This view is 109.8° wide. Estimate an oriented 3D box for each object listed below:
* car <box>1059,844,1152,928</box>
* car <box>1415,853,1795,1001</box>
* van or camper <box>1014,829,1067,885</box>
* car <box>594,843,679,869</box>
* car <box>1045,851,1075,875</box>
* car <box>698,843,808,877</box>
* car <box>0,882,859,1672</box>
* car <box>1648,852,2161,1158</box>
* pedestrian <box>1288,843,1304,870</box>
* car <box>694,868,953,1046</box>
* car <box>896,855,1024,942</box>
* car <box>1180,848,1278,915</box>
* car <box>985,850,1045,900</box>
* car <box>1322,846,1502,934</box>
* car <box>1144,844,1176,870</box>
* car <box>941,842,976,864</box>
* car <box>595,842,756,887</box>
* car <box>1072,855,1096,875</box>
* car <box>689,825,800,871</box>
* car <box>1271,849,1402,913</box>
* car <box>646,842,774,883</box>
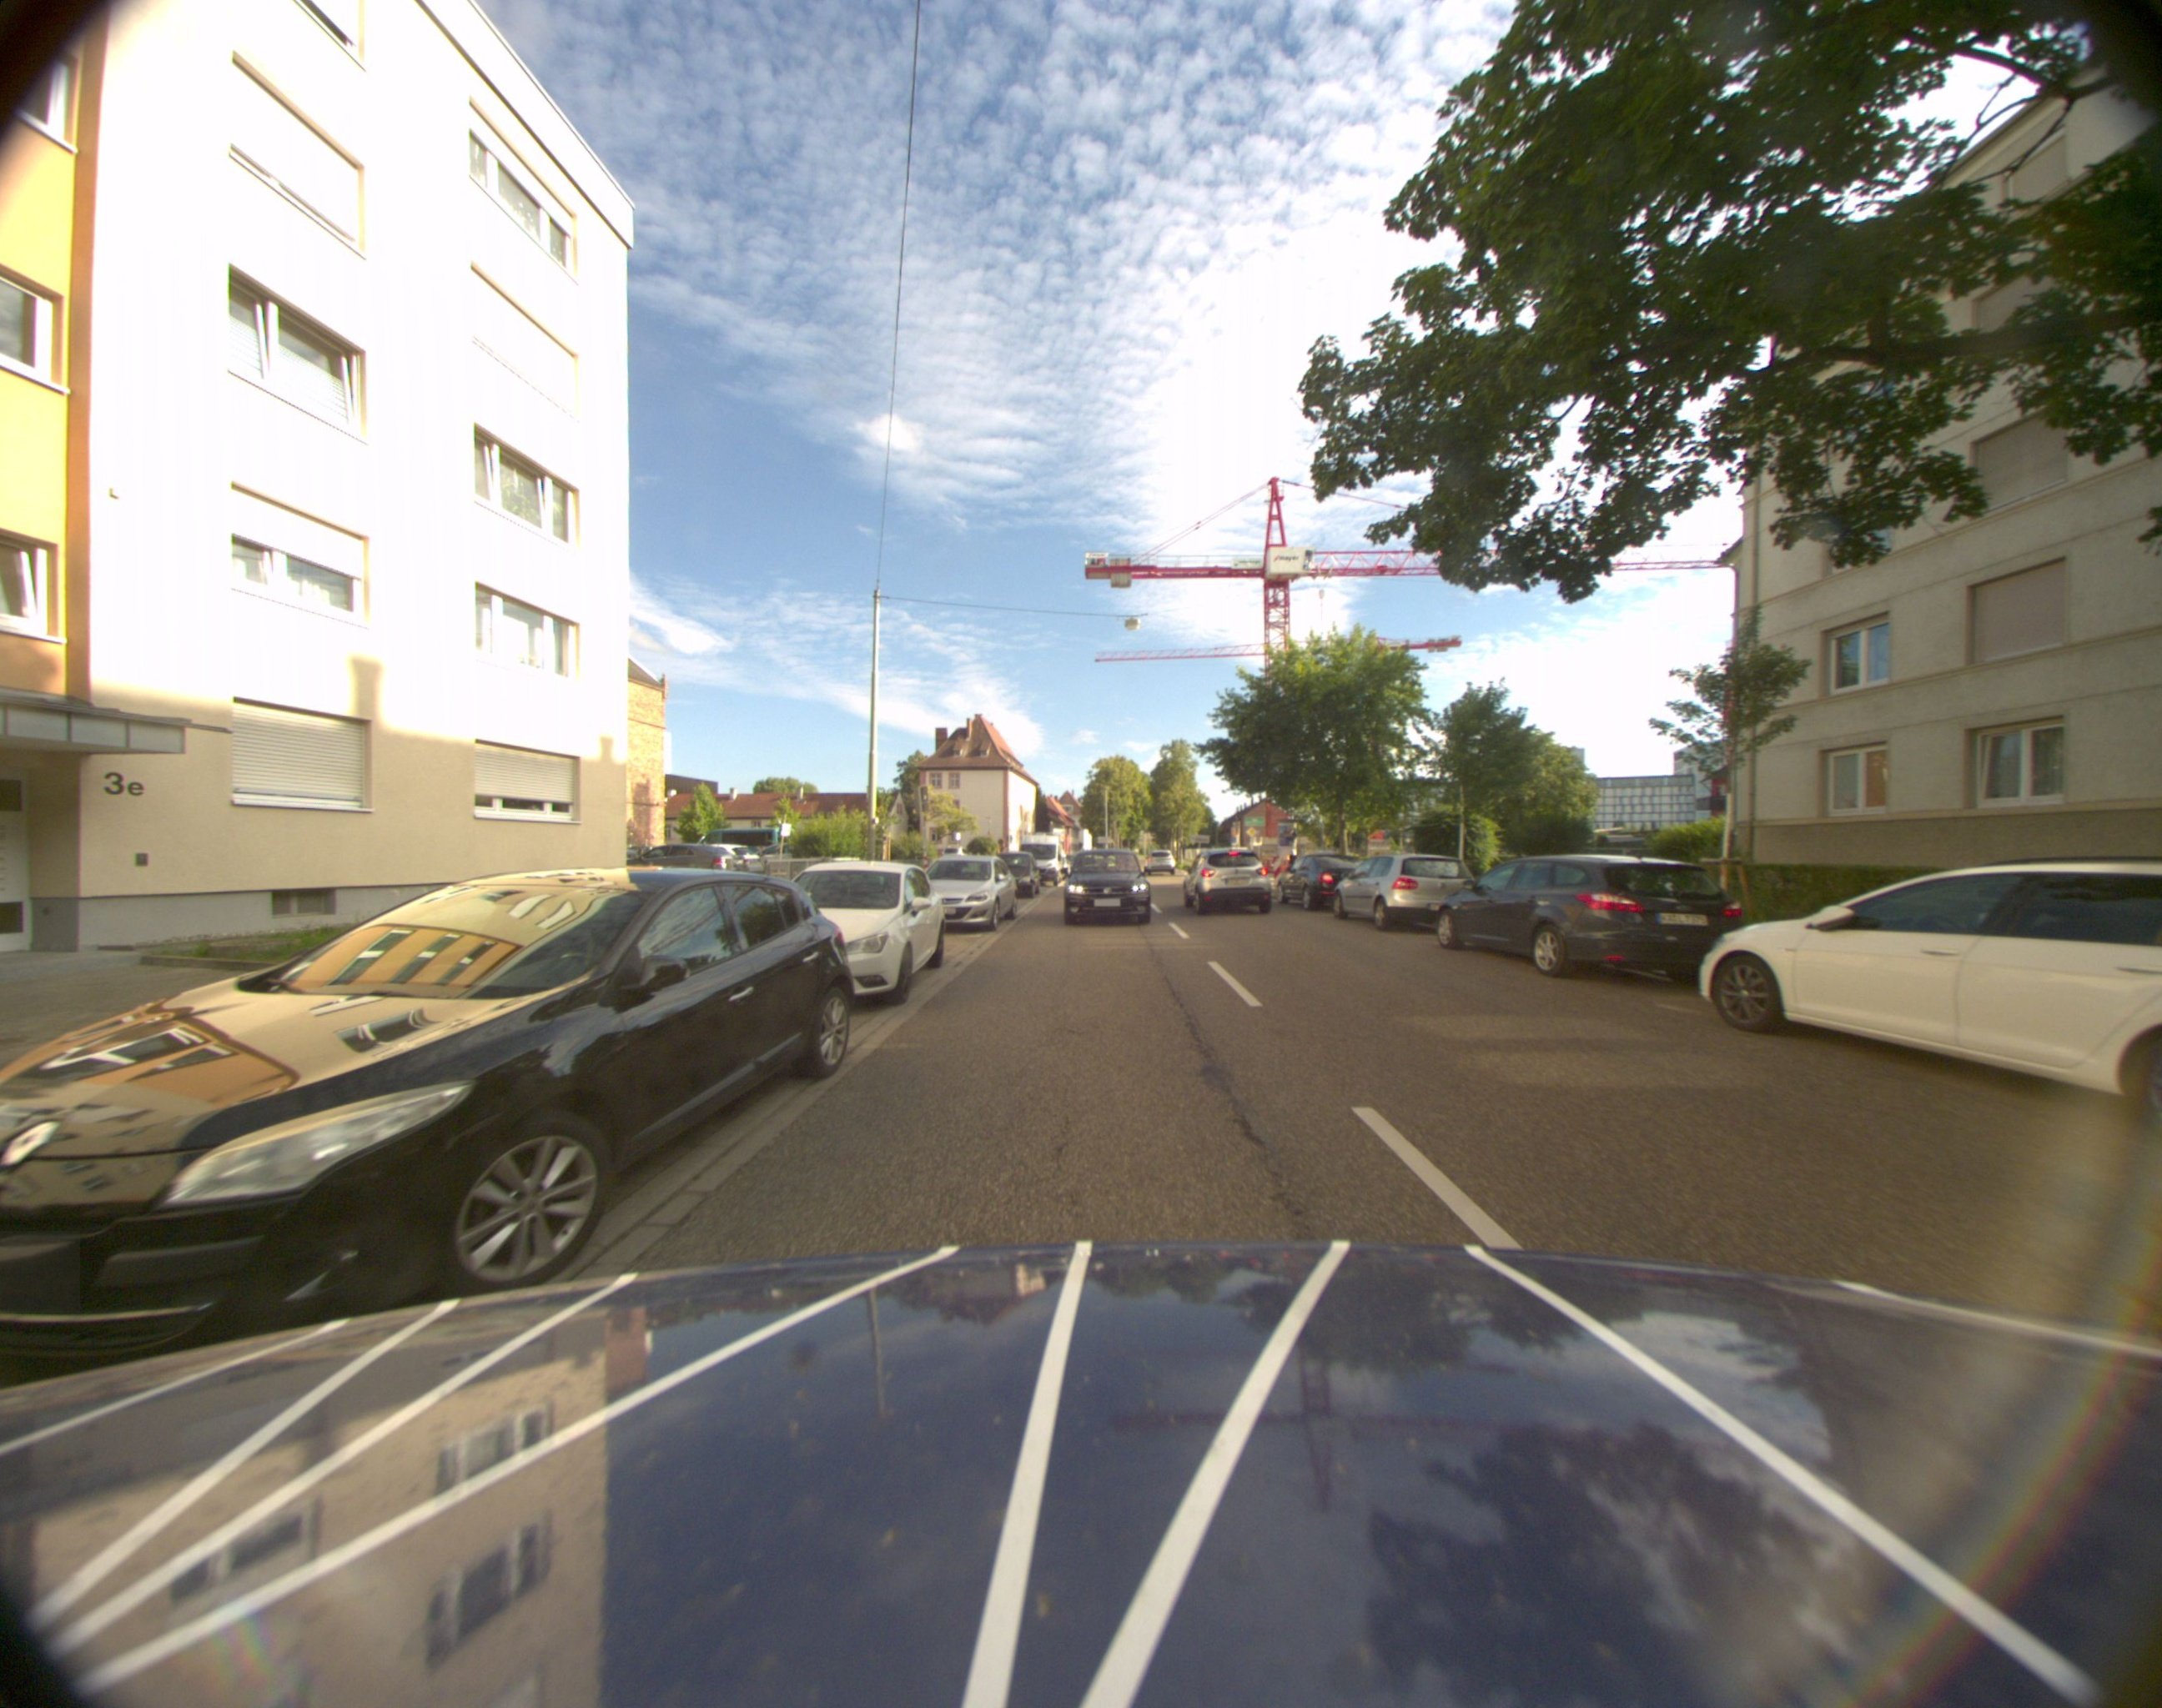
[{"bbox_3d":[0.552,0.638,17.368,1.859,1.673,4.000,-1,0,1],"label":"car"},{"bbox_3d":[6.357,0.740,10.071,1.860,1.477,4.684,0,0,1],"label":"car"},{"bbox_3d":[-1.960,0.141,38.280,2.165,2.512,5.914,2,0,1],"label":"van or camper"},{"bbox_3d":[-26.529,0.126,45.438,4.084,1.494,1.872,0,1,9],"label":"car"},{"bbox_3d":[-1.375,0.558,50.564,1.662,1.477,4.001,3,0,3],"label":"car"},{"bbox_3d":[-14.482,0.264,33.663,4.084,1.473,1.872,0,1,10],"label":"car"},{"bbox_3d":[-2.673,0.951,3.706,1.687,1.427,4.207,1,0,4],"label":"car"},{"bbox_3d":[6.224,0.783,4.686,1.860,1.477,4.798,3,0,1],"label":"car"},{"bbox_3d":[13.902,0.169,49.142,0.743,1.758,0.775,1,1,0],"label":"pedestrian"},{"bbox_3d":[-2.630,0.961,8.829,1.688,1.459,4.205,1,0,-2],"label":"car"},{"bbox_3d":[-2.395,0.821,16.186,1.767,1.515,4.330,2,1,3],"label":"car"},{"bbox_3d":[3.657,0.622,19.439,1.744,1.493,4.009,-1,1,1],"label":"car"},{"bbox_3d":[-2.297,0.701,27.397,1.677,1.593,3.970,3,1,1],"label":"car"},{"bbox_3d":[6.485,0.615,15.492,1.825,1.477,4.369,2,0,2],"label":"car"},{"bbox_3d":[5.361,0.204,51.739,1.834,1.659,4.084,-1,1,2],"label":"car"},{"bbox_3d":[-9.667,-0.050,60.216,1.888,1.709,4.092,0,0,4],"label":"car"},{"bbox_3d":[-13.957,0.352,26.294,4.675,1.473,1.871,0,1,6],"label":"car"},{"bbox_3d":[0.260,0.863,59.553,1.662,1.477,4.001,1,0,4],"label":"car"},{"bbox_3d":[-16.213,-0.279,36.755,4.275,2.179,2.368,0,1,9],"label":"car"},{"bbox_3d":[6.665,0.637,20.380,1.932,1.477,4.420,2,0,-1],"label":"car"},{"bbox_3d":[-14.182,0.310,29.151,4.084,1.473,1.872,0,1,10],"label":"car"}]
